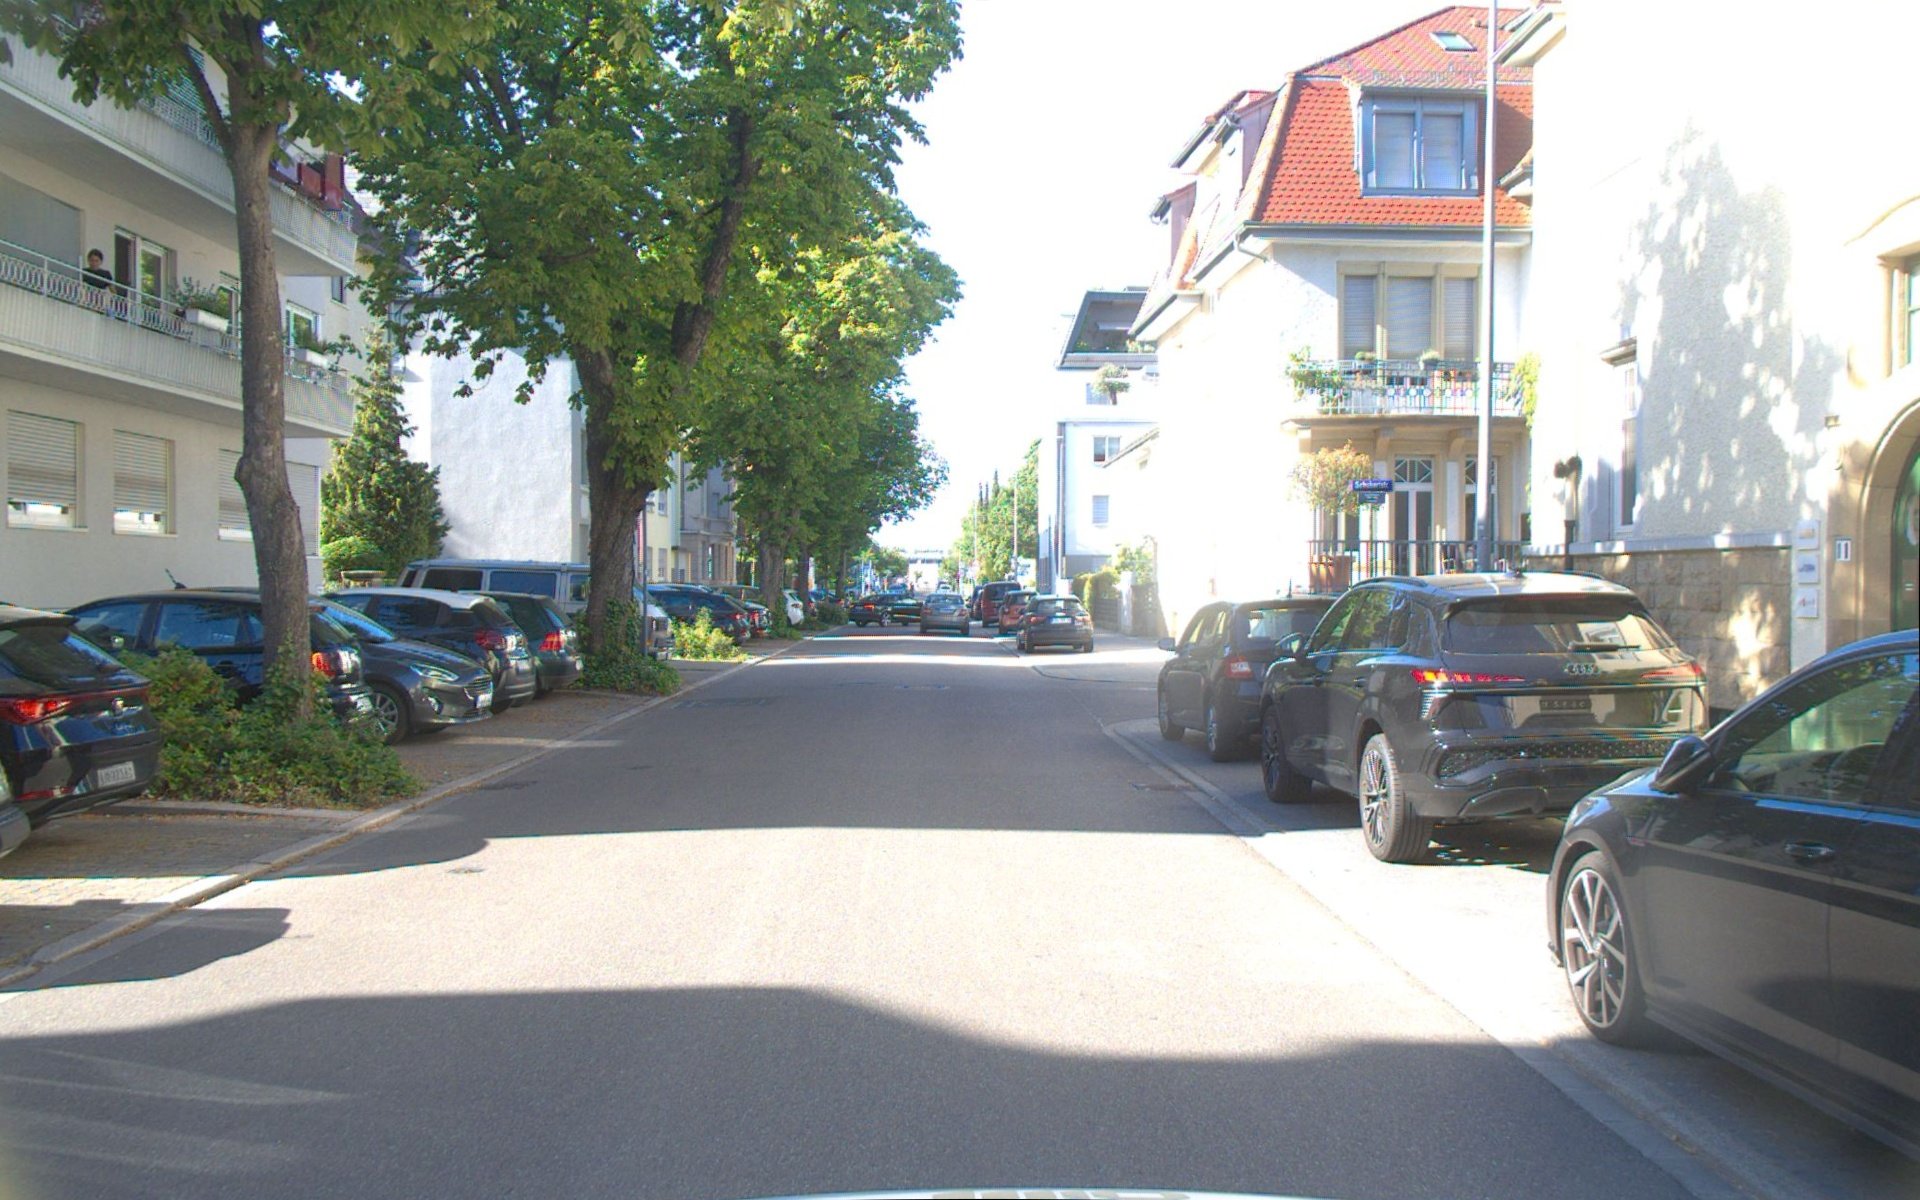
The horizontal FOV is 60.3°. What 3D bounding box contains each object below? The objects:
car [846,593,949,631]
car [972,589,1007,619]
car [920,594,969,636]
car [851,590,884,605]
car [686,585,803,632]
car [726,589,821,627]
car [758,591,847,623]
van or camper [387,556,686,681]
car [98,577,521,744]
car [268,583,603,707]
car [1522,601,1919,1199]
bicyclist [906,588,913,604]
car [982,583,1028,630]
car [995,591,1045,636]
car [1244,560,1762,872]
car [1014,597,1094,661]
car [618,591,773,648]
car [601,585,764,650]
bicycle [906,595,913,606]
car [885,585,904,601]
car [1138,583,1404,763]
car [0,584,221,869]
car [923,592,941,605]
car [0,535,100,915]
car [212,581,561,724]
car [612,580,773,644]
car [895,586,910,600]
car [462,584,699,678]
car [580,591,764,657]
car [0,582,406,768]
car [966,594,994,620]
[{"bbox_3d":[-2.665,0.527,70.931,4.150,1.473,1.693,3,-1,-33],"label":"car"},{"bbox_3d":[1.557,0.212,88.174,1.701,1.558,4.177,0,0,-1],"label":"car"},{"bbox_3d":[-0.534,0.504,59.329,1.691,1.445,3.960,0,0,0],"label":"car"},{"bbox_3d":[-9.790,-0.252,175.341,3.428,1.560,1.642,0,0,-8],"label":"car"},{"bbox_3d":[-7.711,0.292,59.404,3.942,1.510,1.806,2,0,-2],"label":"car"},{"bbox_3d":[-8.076,0.334,71.774,3.907,1.446,1.770,2,1,-2],"label":"car"},{"bbox_3d":[-8.026,0.390,84.586,4.385,1.505,1.867,1,-1,-3],"label":"car"},{"bbox_3d":[-6.867,0.300,27.179,4.406,1.948,1.963,0,0,-2],"label":"van or camper"},{"bbox_3d":[-6.524,0.585,16.856,3.569,1.488,1.710,2,0,1],"label":"car"},{"bbox_3d":[-6.811,0.564,21.780,3.844,1.439,1.714,2,1,-4],"label":"car"},{"bbox_3d":[3.049,0.728,4.207,1.675,1.461,4.191,-2,-1,-2],"label":"car"},{"bbox_3d":[-5.056,-0.415,165.375,0.706,1.564,1.137,2,-1,-1],"label":"bicyclist"},{"bbox_3d":[1.895,0.274,71.577,1.833,1.938,5.197,-1,0,0],"label":"car"},{"bbox_3d":[2.111,0.457,58.869,1.560,1.506,3.246,-2,0,-1],"label":"car"},{"bbox_3d":[3.127,0.615,10.561,1.755,1.547,4.365,-1,-1,-2],"label":"car"},{"bbox_3d":[2.356,0.705,42.246,1.587,1.465,3.933,-2,1,-3],"label":"car"},{"bbox_3d":[-7.055,0.500,44.315,3.906,1.494,1.696,0,0,-2],"label":"car"},{"bbox_3d":[-7.013,0.439,42.124,3.907,1.620,1.877,0,0,-3],"label":"car"},{"bbox_3d":[-5.056,0.035,165.508,0.705,1.098,1.890,0,0,-1],"label":"bicycle"},{"bbox_3d":[-7.136,-0.784,180.660,1.836,1.758,3.995,0,0,-6],"label":"car"},{"bbox_3d":[2.949,0.665,16.519,1.629,1.547,3.998,-1,-1,-4],"label":"car"},{"bbox_3d":[-6.682,0.607,9.425,4.104,1.466,1.712,2,0,-3],"label":"car"},{"bbox_3d":[-3.143,-0.175,183.168,1.689,1.353,3.995,0,0,-6],"label":"car"},{"bbox_3d":[-6.379,0.535,6.978,4.500,1.635,1.831,0,0,-6],"label":"car"},{"bbox_3d":[-6.618,0.590,19.362,3.407,1.483,1.797,2,0,0],"label":"car"},{"bbox_3d":[-7.620,0.324,47.401,4.296,1.681,1.823,-1,1,0],"label":"car"},{"bbox_3d":[-7.076,-0.865,204.190,1.751,1.559,3.998,2,1,-2],"label":"car"},{"bbox_3d":[-6.850,0.541,30.105,3.864,1.524,1.662,2,1,1],"label":"car"},{"bbox_3d":[-6.805,0.558,39.428,4.103,1.525,1.860,0,0,-3],"label":"car"},{"bbox_3d":[-6.814,0.626,14.423,3.411,1.445,1.708,2,-1,-7],"label":"car"},{"bbox_3d":[1.167,0.428,98.628,1.532,1.435,3.729,-4,-1,0],"label":"car"}]
